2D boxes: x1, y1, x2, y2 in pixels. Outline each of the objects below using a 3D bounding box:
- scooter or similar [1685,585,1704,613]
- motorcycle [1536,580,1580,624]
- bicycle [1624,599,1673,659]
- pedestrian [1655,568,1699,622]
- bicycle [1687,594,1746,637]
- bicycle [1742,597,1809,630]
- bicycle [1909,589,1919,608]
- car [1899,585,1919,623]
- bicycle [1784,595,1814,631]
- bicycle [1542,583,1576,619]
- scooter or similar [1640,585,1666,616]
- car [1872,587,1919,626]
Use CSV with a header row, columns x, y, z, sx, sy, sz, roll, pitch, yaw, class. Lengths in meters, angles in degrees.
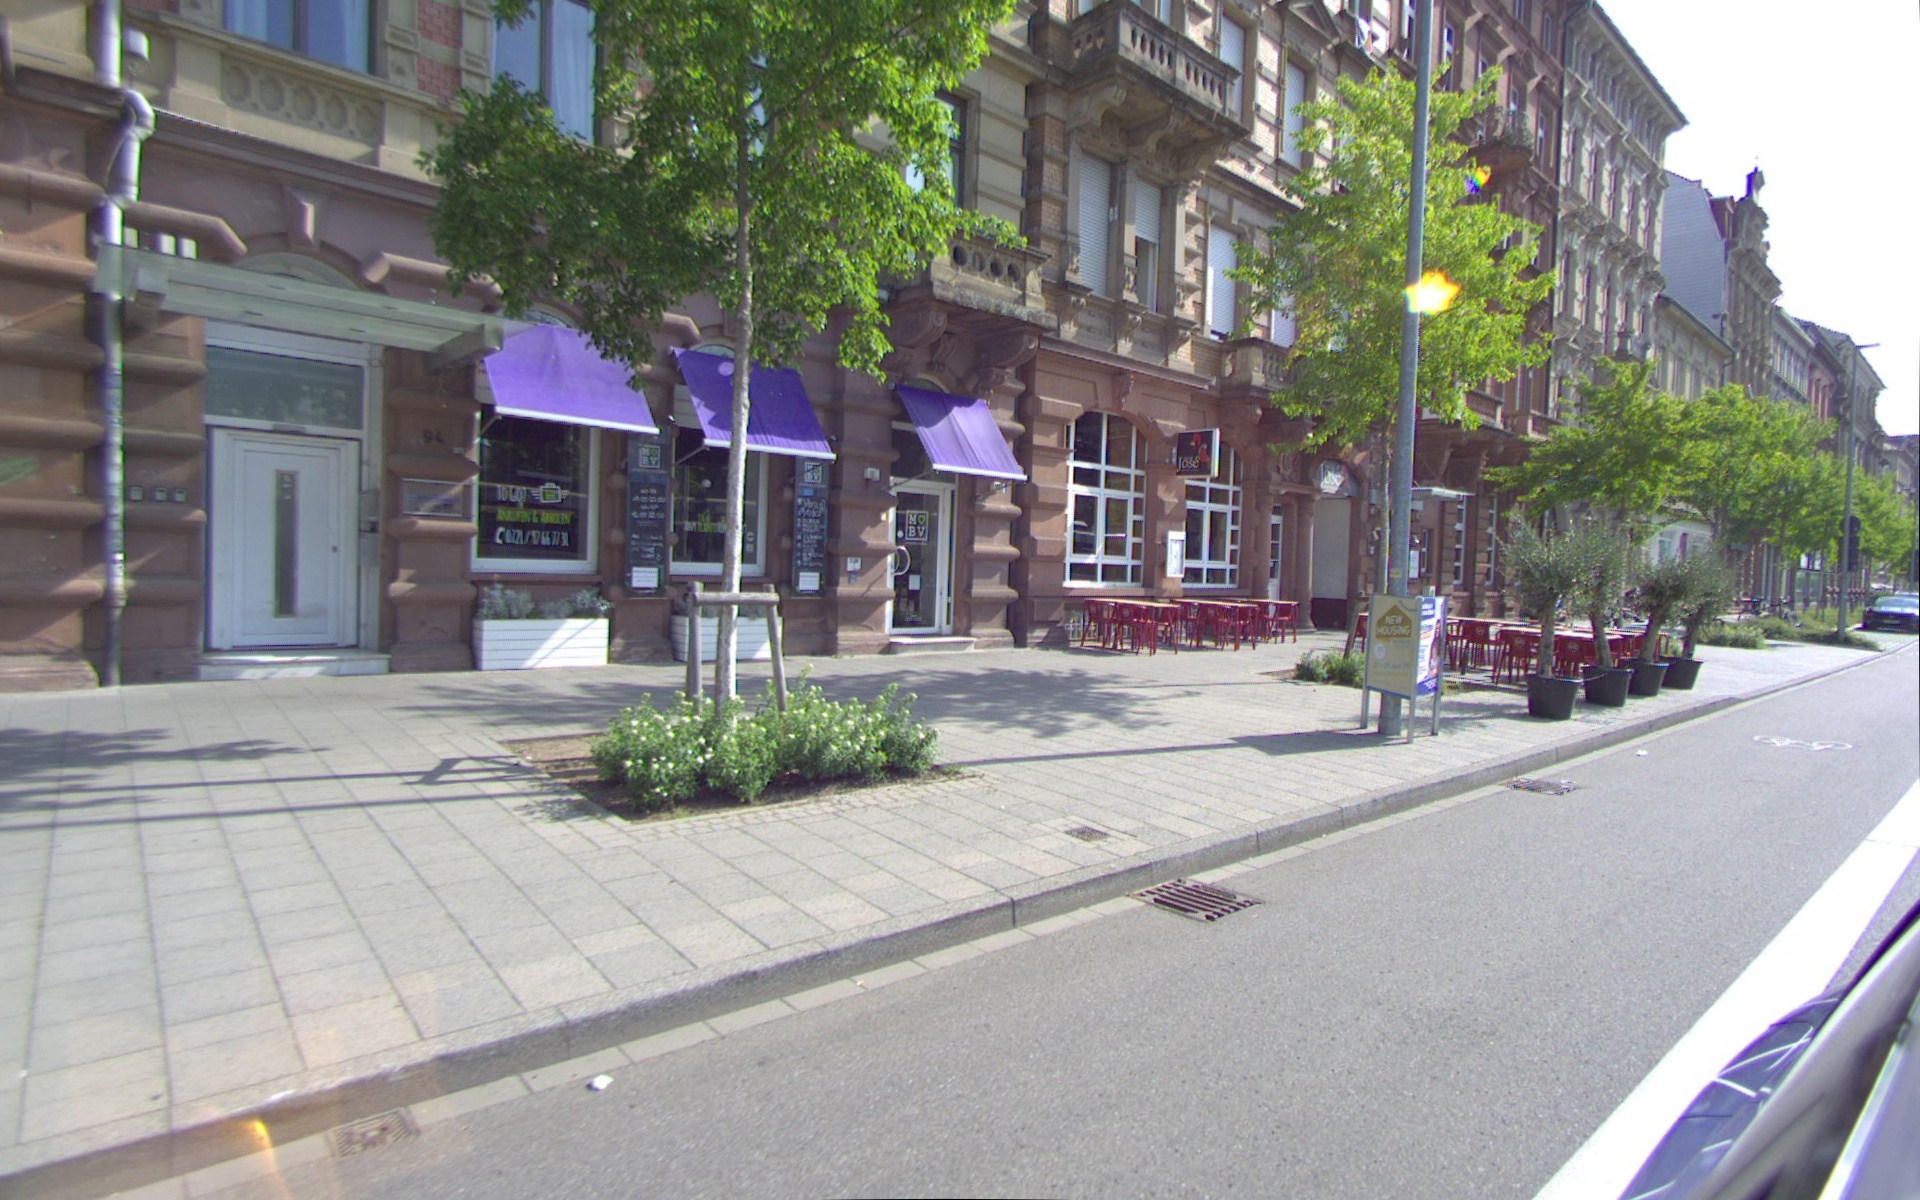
x,y,z,sx,sy,sz,roll,pitch,yaw,class
30.027,-0.044,41.355,1.068,1.148,0.289,0,2,-37,scooter or similar
17.006,0.039,28.767,1.912,1.189,0.464,-1,4,-42,motorcycle
14.103,0.565,20.713,0.595,1.136,1.898,3,2,41,bicycle
23.880,-0.193,33.723,0.780,1.717,0.824,3,3,8,pedestrian
19.909,0.412,26.627,1.678,1.073,0.507,2,3,-28,bicycle
27.412,0.449,34.031,1.842,1.095,0.455,0,3,0,bicycle
59.390,-0.055,61.939,1.807,1.109,0.661,5,4,43,bicycle
42.489,0.195,44.417,1.770,1.607,4.181,5,4,44,car
27.269,0.403,32.874,1.795,1.107,0.493,0,2,-43,bicycle
17.915,0.023,30.259,1.232,1.031,0.398,0,2,-37,bicycle
26.633,0.015,38.899,0.916,1.139,0.608,0,2,-42,scooter or similar
37.770,0.258,40.187,4.632,1.413,1.740,0,4,-41,car
